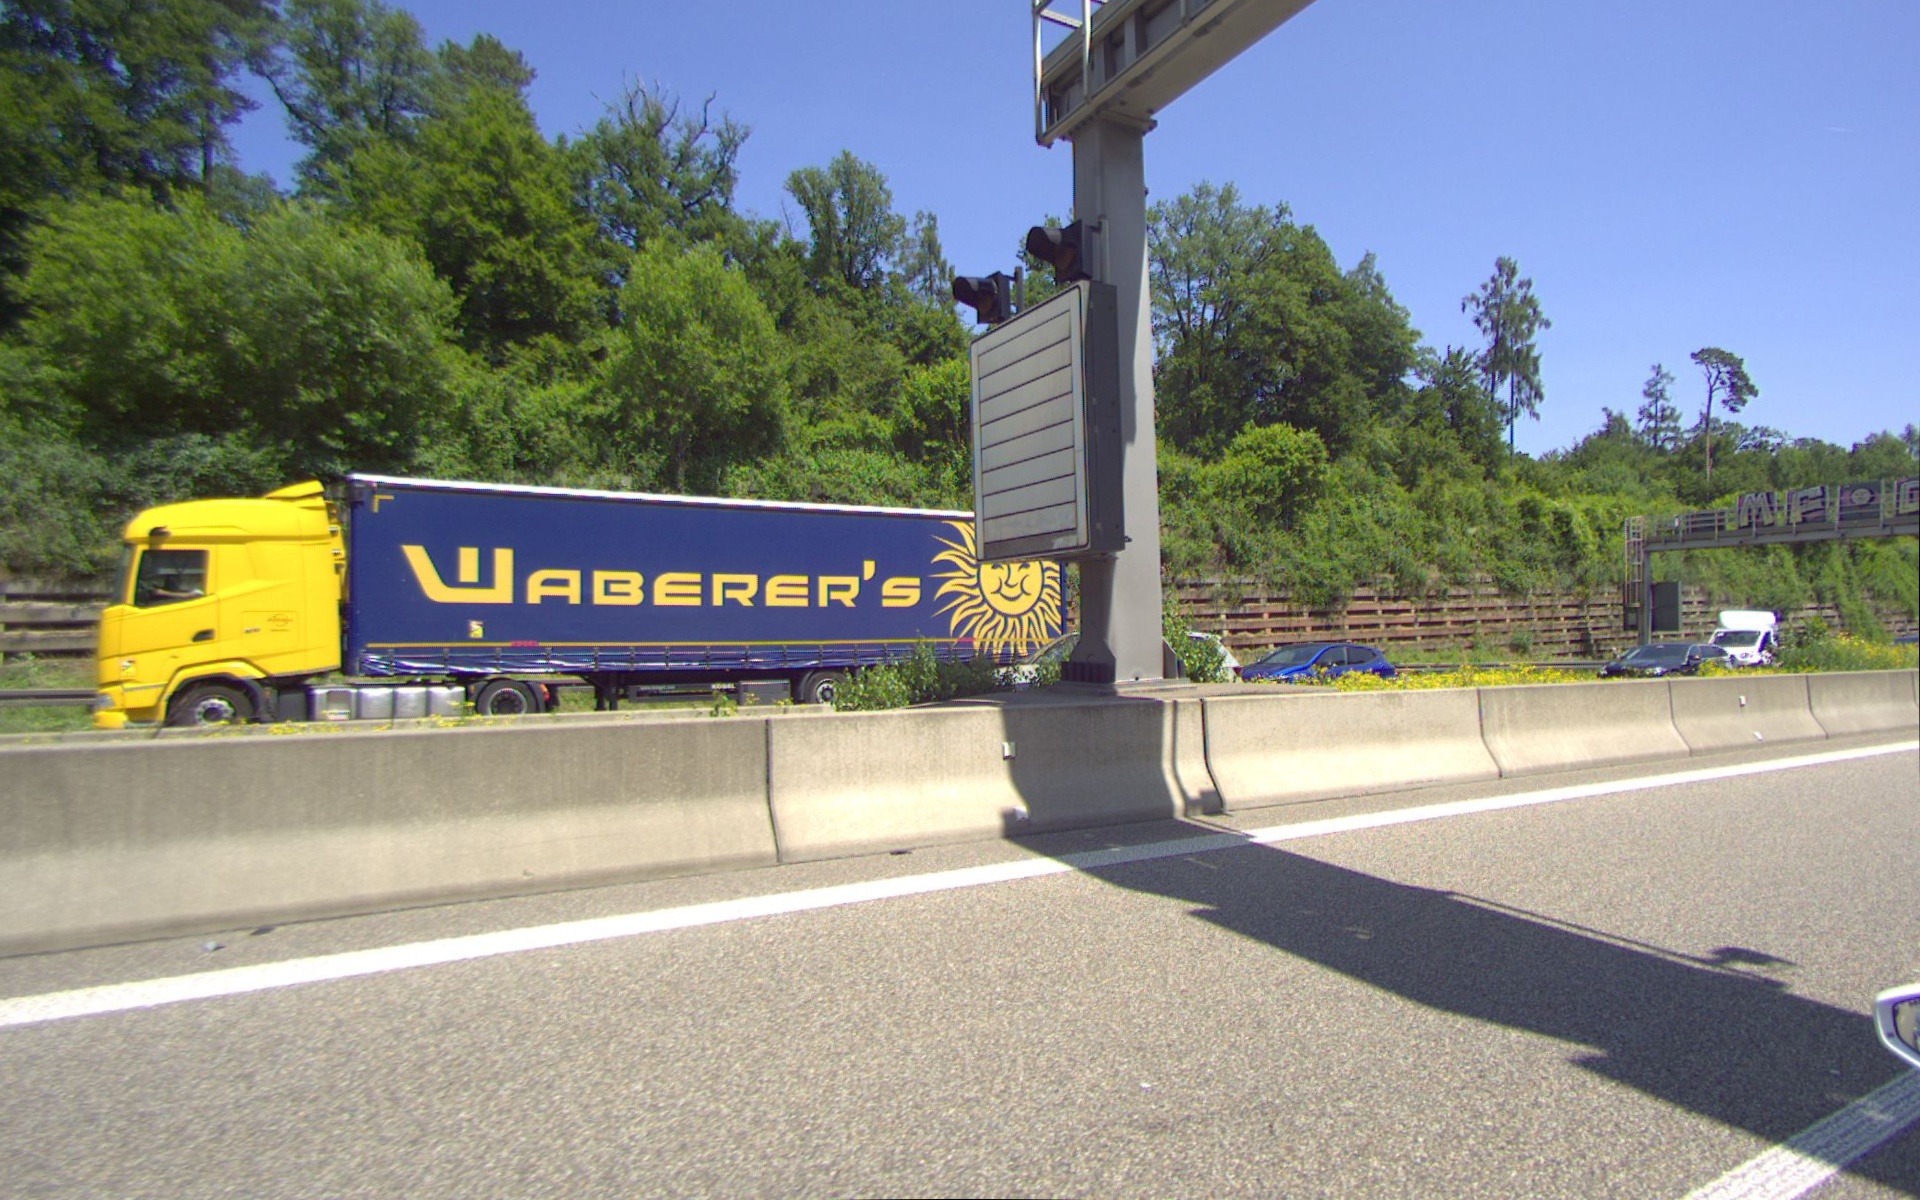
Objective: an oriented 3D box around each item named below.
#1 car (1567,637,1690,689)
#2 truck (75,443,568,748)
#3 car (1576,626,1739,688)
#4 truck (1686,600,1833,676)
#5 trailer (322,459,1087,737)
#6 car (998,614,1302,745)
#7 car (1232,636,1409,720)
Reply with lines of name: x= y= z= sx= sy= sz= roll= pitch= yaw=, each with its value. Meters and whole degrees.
car: x=22.856 y=2.107 z=34.323 sx=4.320 sy=1.625 sz=1.791 roll=1 pitch=-2 yaw=-31
truck: x=-10.161 y=0.044 z=16.836 sx=6.378 sy=4.257 sz=2.939 roll=1 pitch=-3 yaw=-29
car: x=19.899 y=1.577 z=28.617 sx=4.805 sy=1.626 sz=1.994 roll=1 pitch=-2 yaw=-31
truck: x=34.143 y=1.592 z=42.831 sx=6.979 sy=3.032 sz=2.567 roll=1 pitch=-2 yaw=-31
trailer: x=-4.165 y=0.148 z=20.137 sx=14.286 sy=4.262 sz=2.966 roll=1 pitch=-3 yaw=-29
car: x=2.745 y=1.040 z=14.306 sx=4.069 sy=1.626 sz=1.835 roll=1 pitch=-2 yaw=-31
car: x=7.390 y=1.539 z=20.514 sx=3.508 sy=1.556 sz=1.508 roll=1 pitch=-2 yaw=-31
